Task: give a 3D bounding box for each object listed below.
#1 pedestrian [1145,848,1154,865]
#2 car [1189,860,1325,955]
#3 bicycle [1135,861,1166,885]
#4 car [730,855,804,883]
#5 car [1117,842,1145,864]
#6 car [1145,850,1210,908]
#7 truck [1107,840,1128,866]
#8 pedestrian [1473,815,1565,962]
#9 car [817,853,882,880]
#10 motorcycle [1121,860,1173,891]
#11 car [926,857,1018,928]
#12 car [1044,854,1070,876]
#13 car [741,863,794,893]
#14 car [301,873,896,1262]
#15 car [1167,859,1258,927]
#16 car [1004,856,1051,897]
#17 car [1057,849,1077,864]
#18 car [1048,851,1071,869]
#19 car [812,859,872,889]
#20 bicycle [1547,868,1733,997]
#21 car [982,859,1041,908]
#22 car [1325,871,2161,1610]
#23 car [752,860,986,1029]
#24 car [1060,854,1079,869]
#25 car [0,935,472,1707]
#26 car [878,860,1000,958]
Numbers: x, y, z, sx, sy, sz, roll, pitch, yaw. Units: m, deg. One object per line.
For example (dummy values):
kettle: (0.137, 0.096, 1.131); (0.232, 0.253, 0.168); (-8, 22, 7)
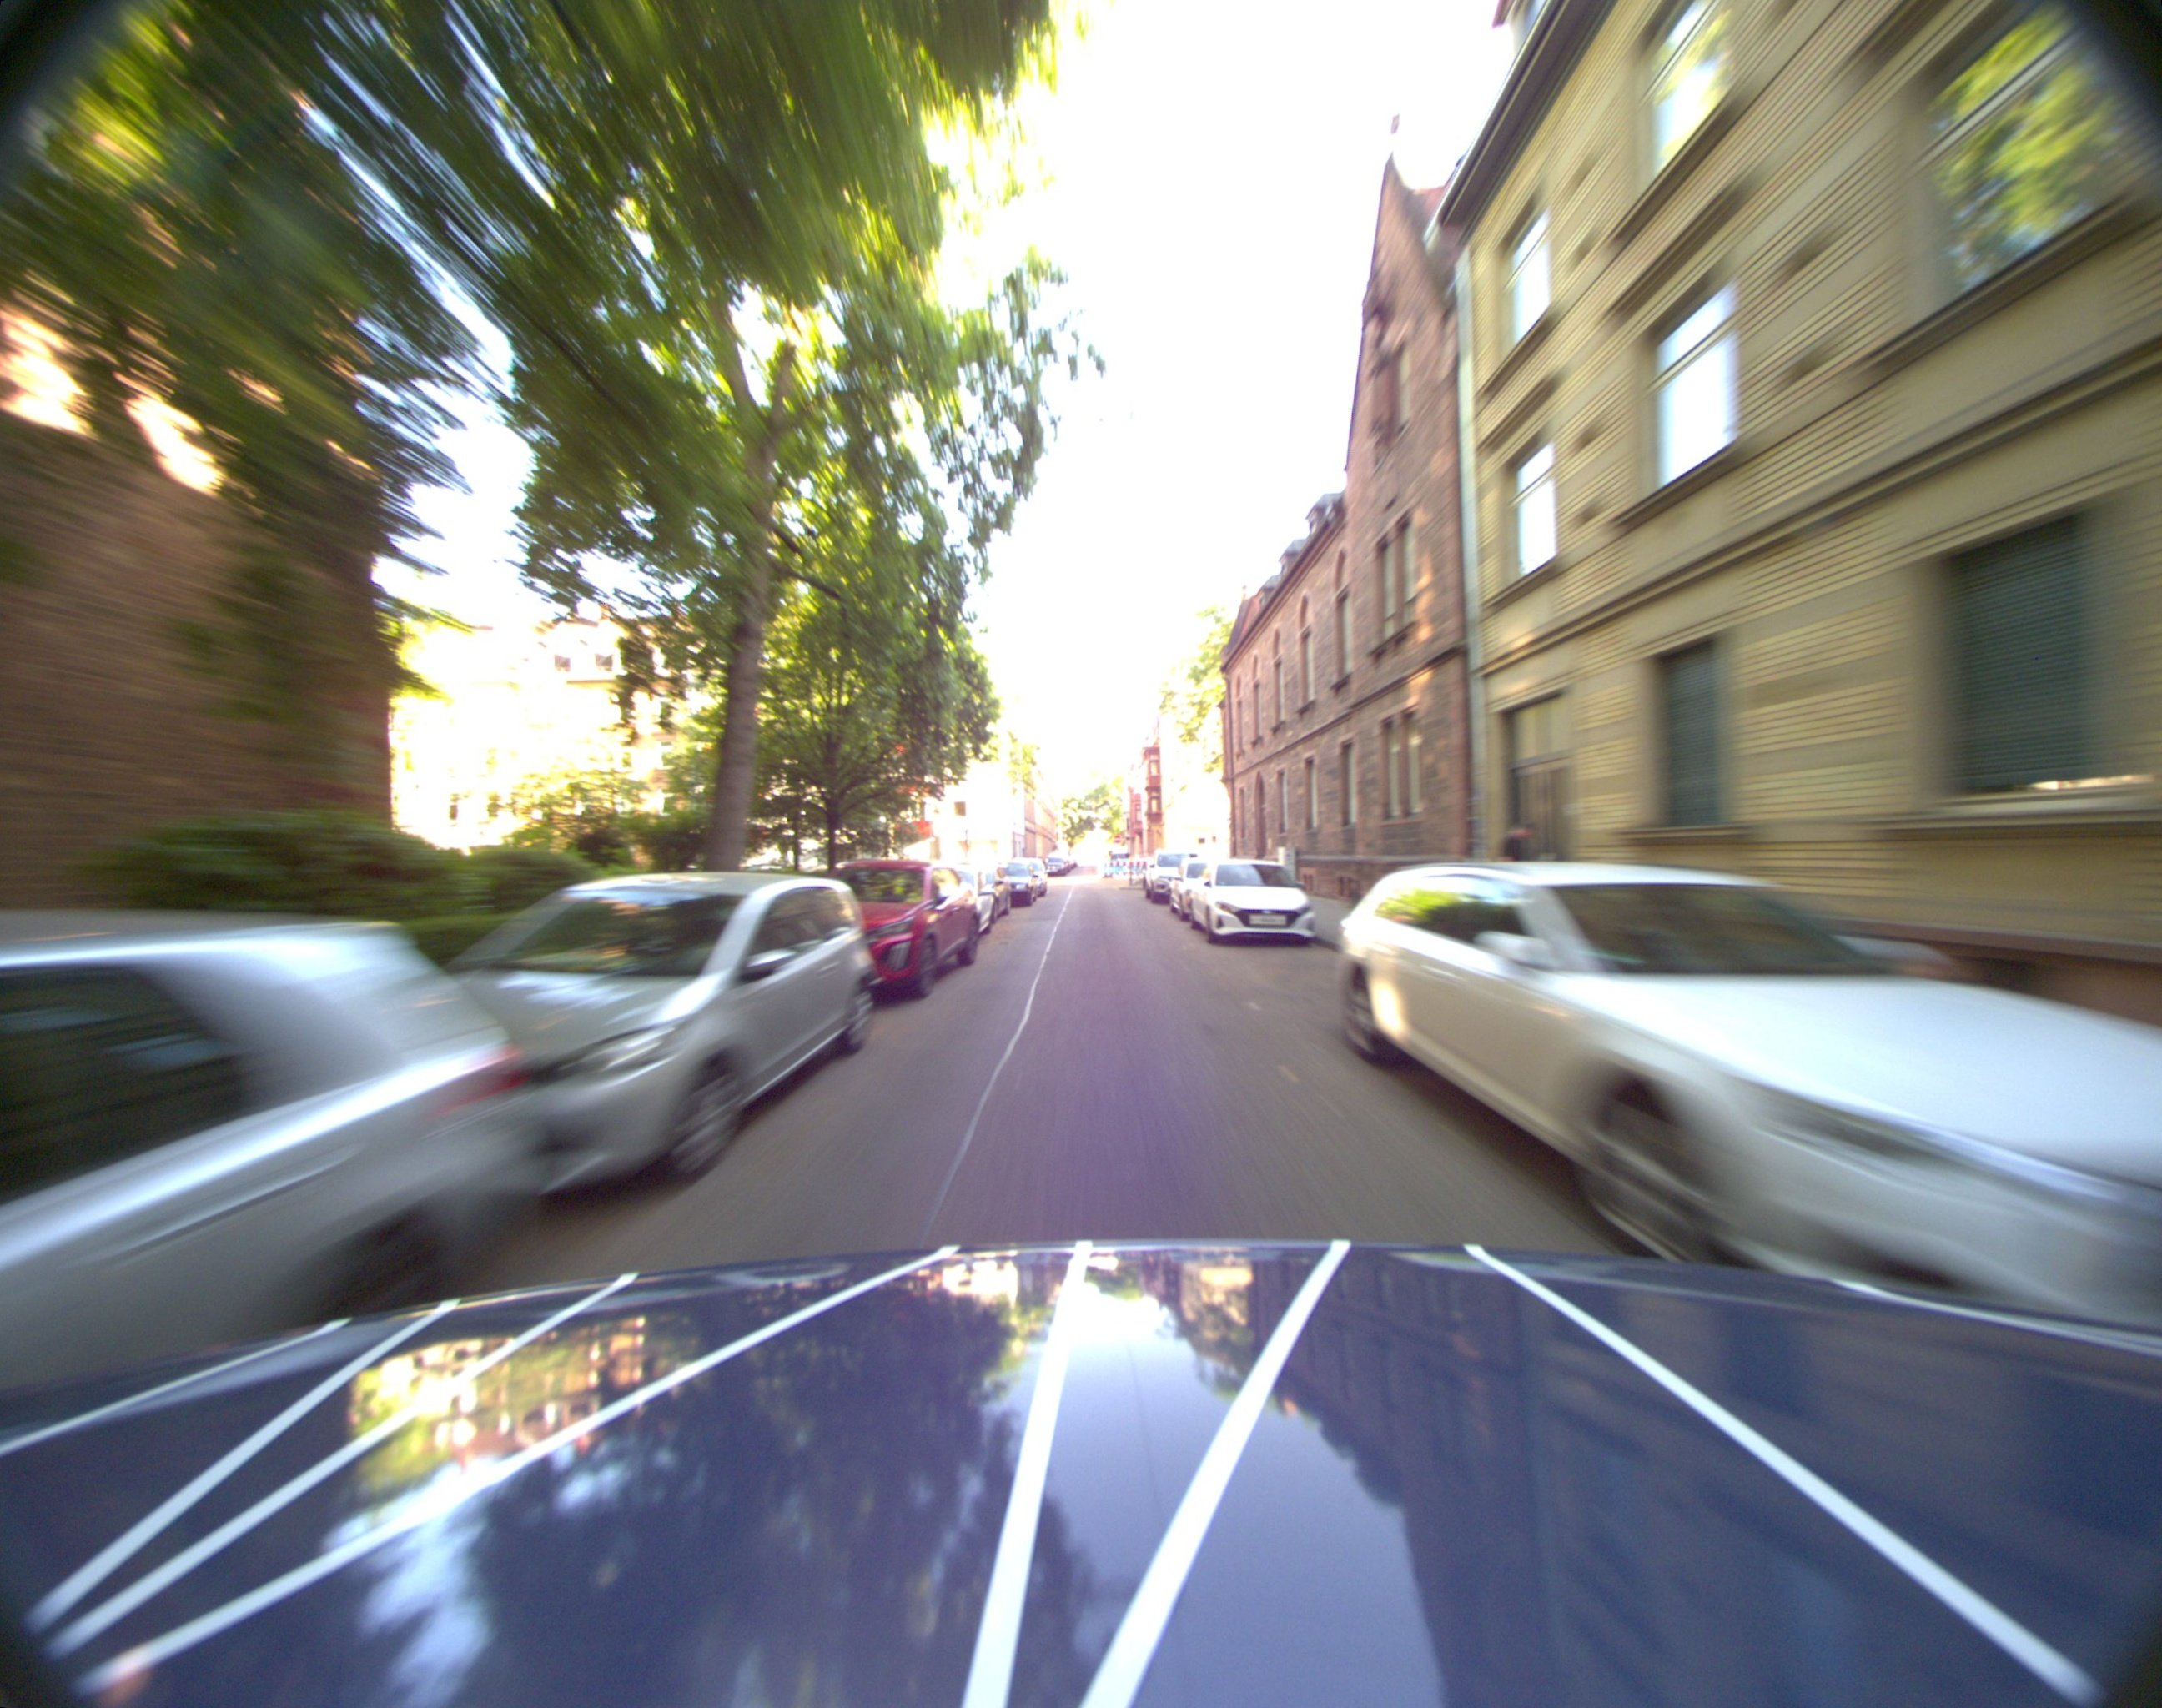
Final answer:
pedestrian: (6.520, 0.205, 72.178); (0.670, 1.585, 0.597); (-2, 1, -3)
car: (3.062, 0.859, 13.974); (1.713, 1.409, 3.803); (0, 1, 2)
bicycle: (3.195, 0.872, 35.069); (0.234, 1.037, 1.679); (-5, 3, -39)
car: (-20.410, 0.961, 49.469); (4.036, 1.608, 1.649); (-2, 3, 0)
car: (3.981, -0.066, 60.940); (1.776, 1.695, 3.999); (-2, 0, -3)
car: (3.061, 0.745, 24.817); (1.713, 1.665, 4.277); (0, 1, 2)
truck: (3.741, -0.119, 79.212); (1.971, 2.643, 5.884); (-1, 0, 1)
pedestrian: (5.991, 0.460, 10.429); (0.768, 1.917, 0.763); (-2, 1, -3)
car: (-14.985, 0.809, 49.301); (3.695, 1.550, 1.649); (-2, 3, 0)
motorcycle: (2.774, 0.883, 32.159); (0.703, 1.244, 2.320); (-2, 2, -44)
car: (-2.747, 0.922, 19.979); (1.668, 1.511, 4.060); (3, 1, 2)
car: (-1.862, 0.827, 60.252); (1.845, 1.643, 4.000); (-1, 0, 1)
car: (-17.211, 1.293, 41.602); (1.785, 1.423, 4.404); (-4, 2, -34)
car: (-2.600, 0.991, 5.217); (1.603, 1.496, 3.720); (3, 1, 1)
car: (3.135, 0.882, 18.795); (1.713, 1.409, 3.803); (0, 1, 2)
car: (-2.136, 0.878, 31.180); (1.713, 1.511, 3.830); (0, 1, -1)
car: (-1.609, 0.286, 86.761); (1.998, 1.659, 4.000); (-2, 0, 2)
car: (-2.014, 0.544, 71.187); (1.999, 1.659, 3.998); (-2, 0, -3)
car: (-12.893, 1.008, 40.846); (1.785, 1.423, 4.404); (-4, 2, -34)
bicycle: (5.891, 0.767, 8.159); (0.572, 1.141, 1.844); (-5, 0, 0)
car: (-2.270, 0.943, 25.624); (1.625, 1.428, 4.002); (0, 1, -1)
car: (2.813, 0.875, 3.860); (1.735, 1.447, 4.521); (0, 0, 1)
car: (-2.450, 0.947, 9.893); (1.668, 1.577, 4.100); (3, 1, 3)
car: (-1.340, 0.856, 91.871); (1.998, 1.659, 4.000); (-2, 0, 2)
car: (-2.702, 1.015, 0.384); (1.603, 1.462, 3.869); (1, 1, 1)
car: (-2.634, 0.958, 14.964); (1.668, 1.511, 3.950); (3, 1, -1)
